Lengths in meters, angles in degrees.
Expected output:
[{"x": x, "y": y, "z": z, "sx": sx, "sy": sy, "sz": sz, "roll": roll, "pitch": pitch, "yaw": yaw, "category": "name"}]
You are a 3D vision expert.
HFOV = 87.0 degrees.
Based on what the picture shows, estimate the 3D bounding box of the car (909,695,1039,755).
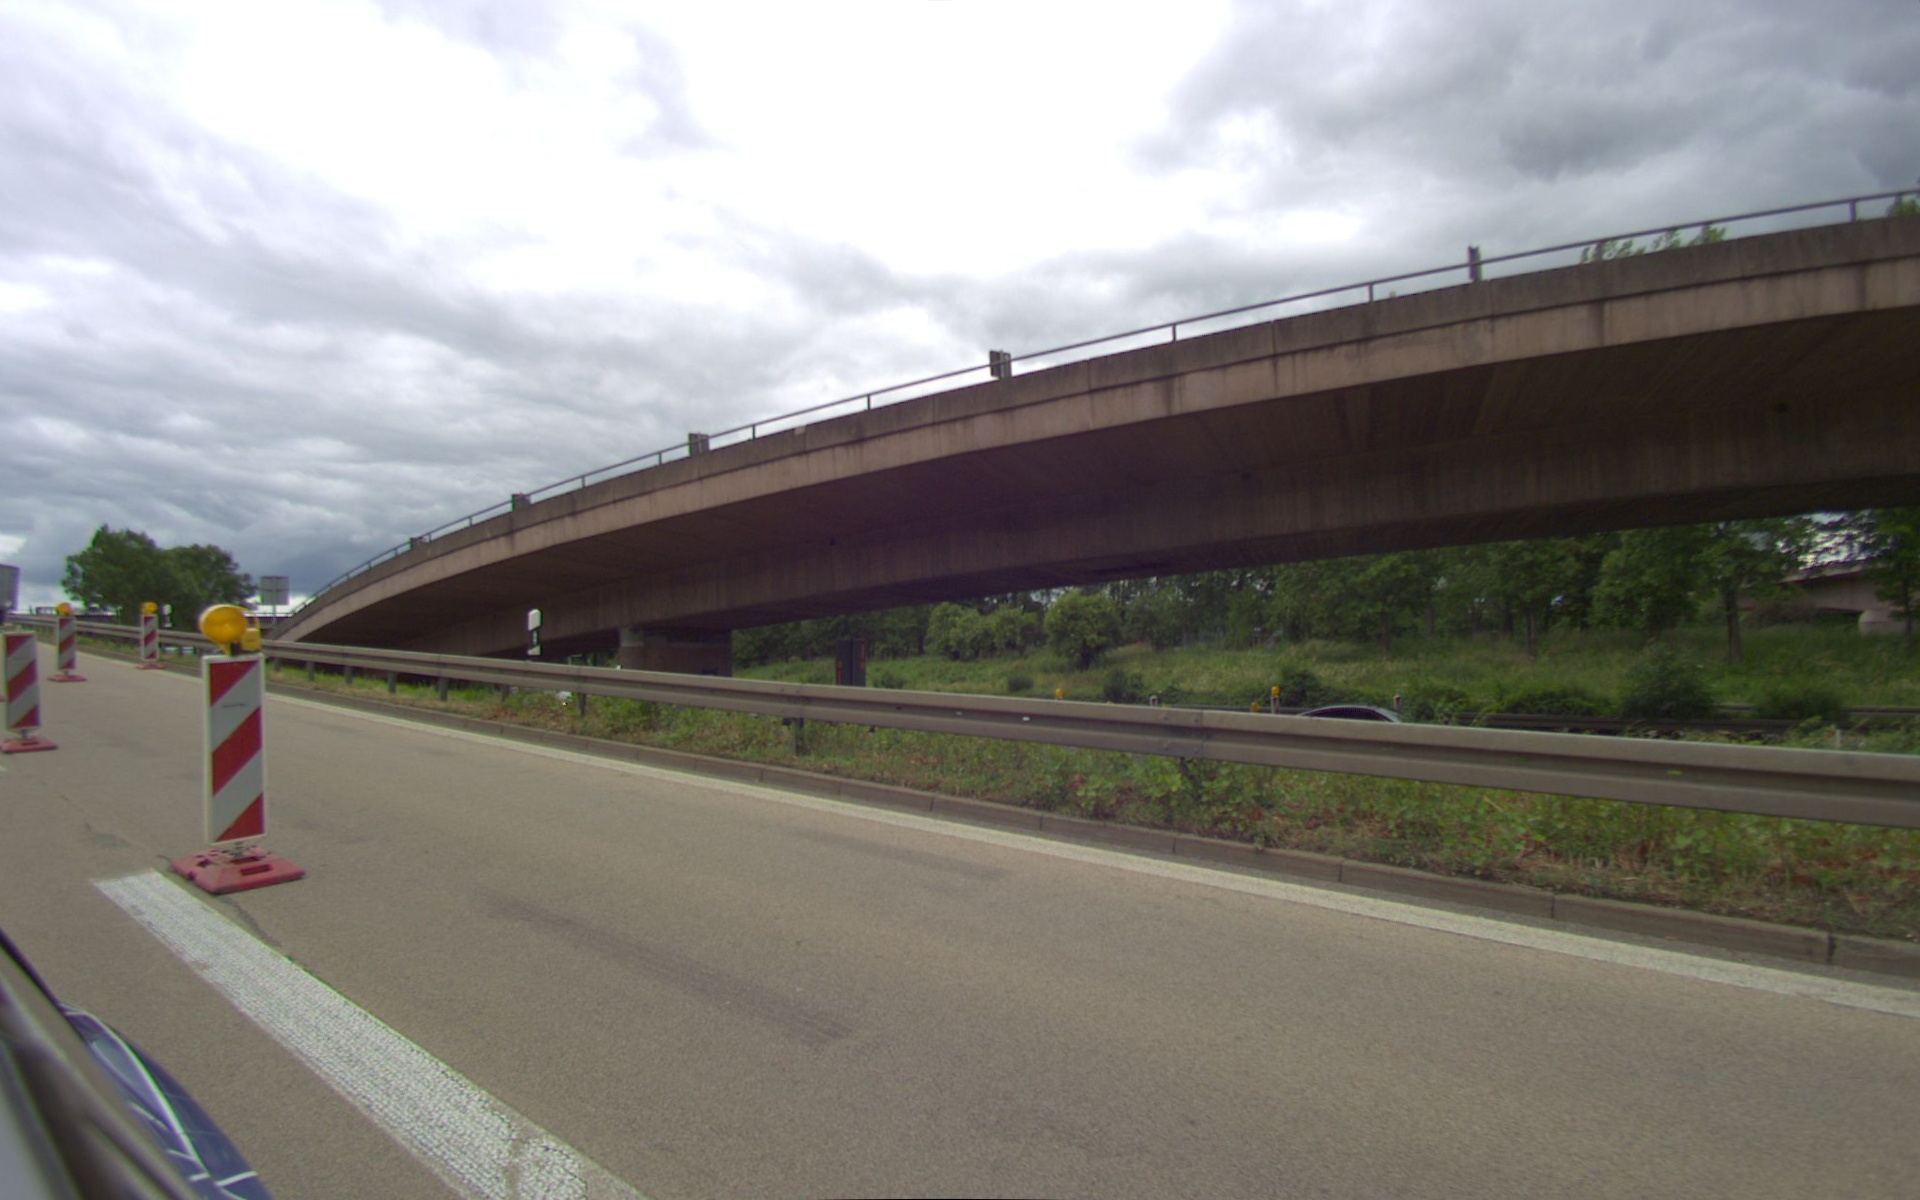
[{"x": 0.393, "y": 4.106, "z": 33.767, "sx": 2.012, "sy": 1.627, "sz": 4.301, "roll": 0, "pitch": -3, "yaw": -39, "category": "car"}]

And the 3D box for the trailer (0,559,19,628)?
[{"x": -62.059, "y": -0.579, "z": 61.789, "sx": 4.058, "sy": 4.277, "sz": 13.930, "roll": 0, "pitch": -3, "yaw": -32, "category": "trailer"}]
